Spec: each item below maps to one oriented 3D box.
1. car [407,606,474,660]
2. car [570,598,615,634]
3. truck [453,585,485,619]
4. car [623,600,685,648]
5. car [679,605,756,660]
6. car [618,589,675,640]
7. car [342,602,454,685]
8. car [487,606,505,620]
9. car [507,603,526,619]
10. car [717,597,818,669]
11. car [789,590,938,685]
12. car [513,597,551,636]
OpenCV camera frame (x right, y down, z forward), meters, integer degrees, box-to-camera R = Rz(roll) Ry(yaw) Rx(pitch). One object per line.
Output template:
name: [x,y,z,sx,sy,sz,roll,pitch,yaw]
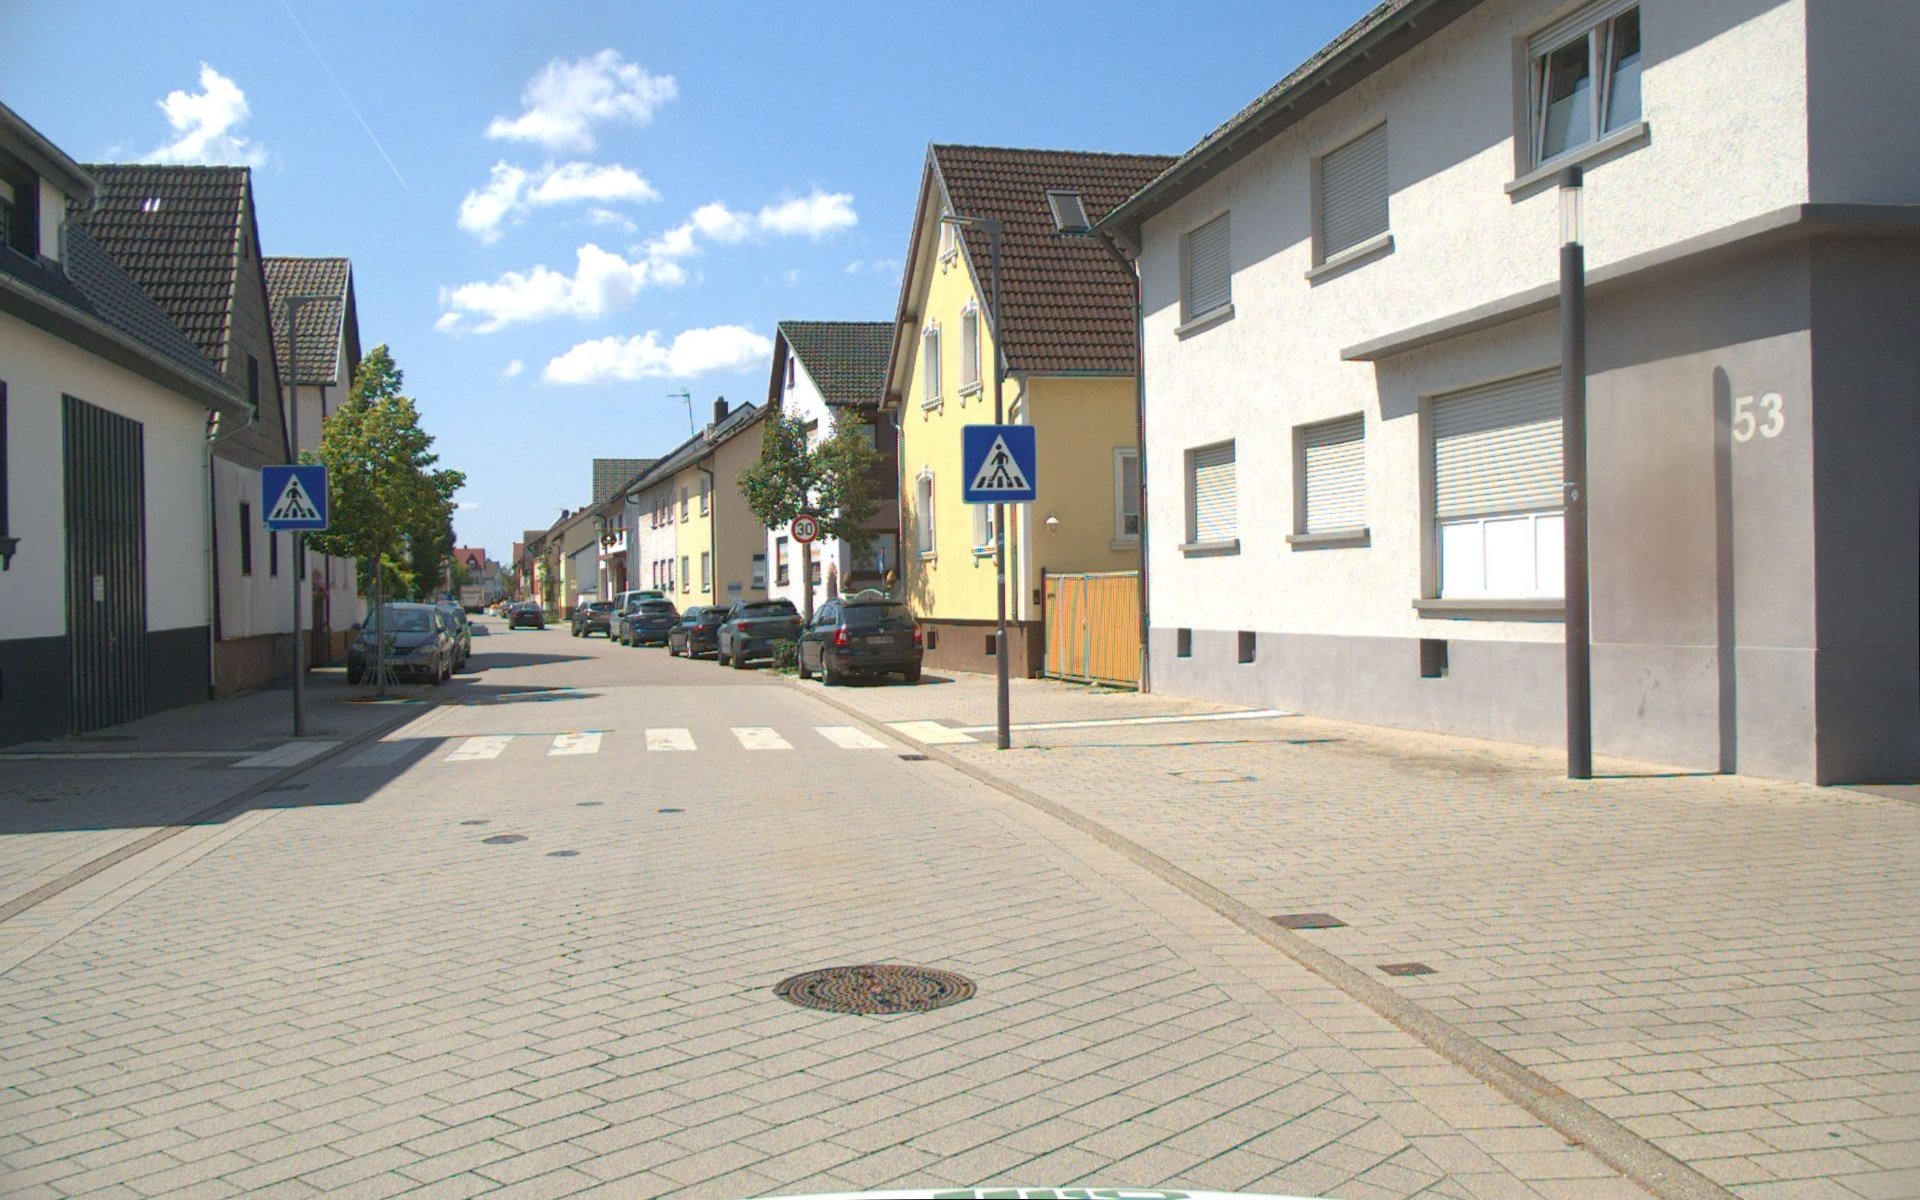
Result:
car: [-15.628,0.959,49.884,1.764,1.501,3.854,-1,0,-16]
car: [-16.372,0.700,73.623,1.725,1.519,3.983,-1,0,-15]
truck: [-60.834,0.265,204.994,3.510,4.023,8.536,-1,0,-18]
car: [-11.095,0.849,59.732,1.847,1.619,3.983,-1,0,-15]
car: [-6.884,0.882,46.663,1.683,1.411,3.690,-1,0,-15]
car: [-12.391,0.552,65.248,1.875,1.904,3.983,-1,0,-15]
car: [-11.366,0.827,33.653,1.717,1.557,3.987,0,0,-13]
car: [-50.925,1.398,181.503,1.662,1.478,3.773,-1,0,-18]
car: [-42.666,1.072,158.979,1.661,1.478,3.776,-1,0,-16]
car: [-4.616,0.740,39.308,1.816,1.590,3.678,-1,0,-16]
car: [-1.845,0.645,30.128,1.799,1.497,4.258,-3,0,-15]
car: [-24.197,0.910,93.401,1.961,2.093,4.355,-1,0,-16]
